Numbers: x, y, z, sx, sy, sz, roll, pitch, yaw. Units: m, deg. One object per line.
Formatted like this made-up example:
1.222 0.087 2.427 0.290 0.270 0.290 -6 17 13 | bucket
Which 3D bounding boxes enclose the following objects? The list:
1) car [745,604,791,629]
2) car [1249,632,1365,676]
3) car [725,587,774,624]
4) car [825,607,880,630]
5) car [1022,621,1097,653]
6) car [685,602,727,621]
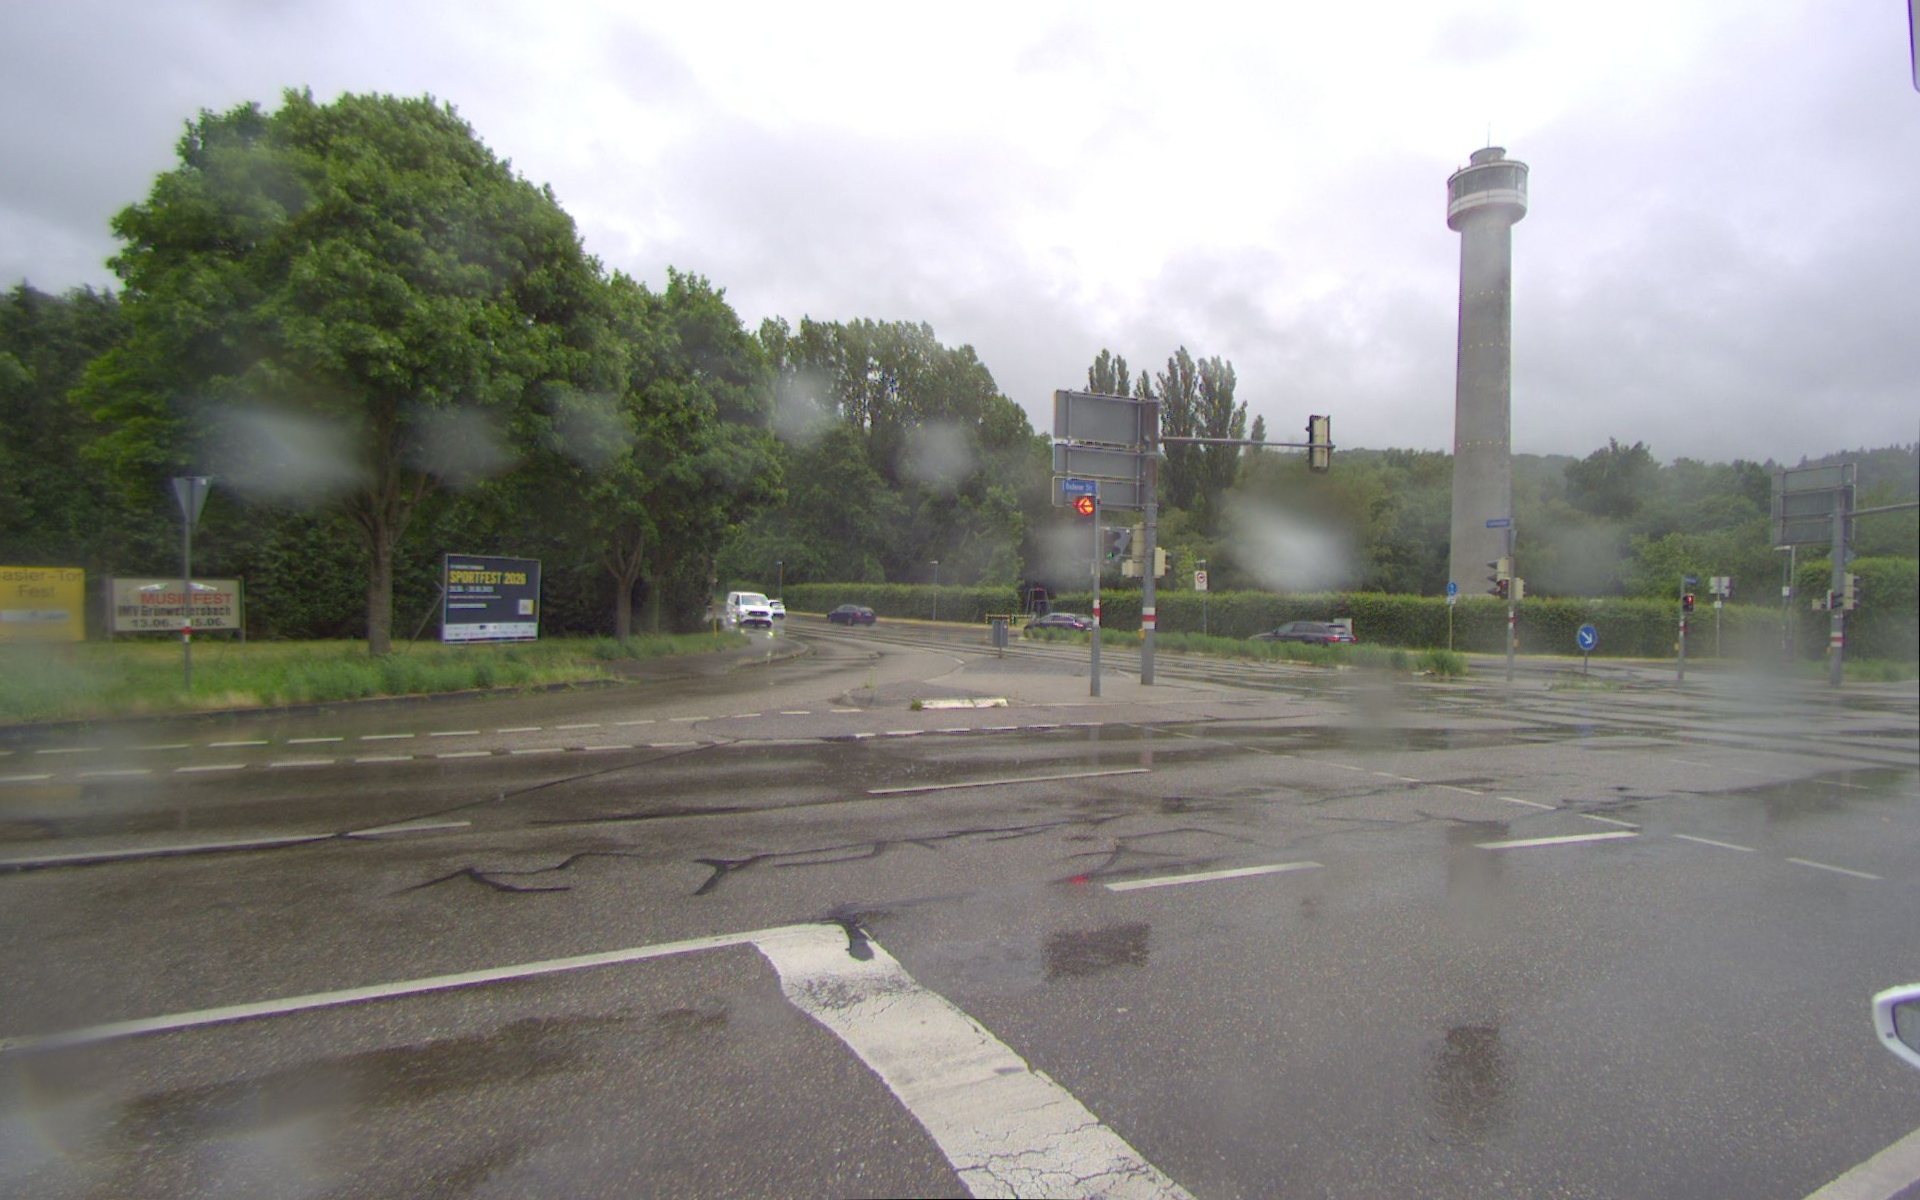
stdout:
-15.456 1.282 80.704 1.896 1.941 4.638 1 -1 -35 | car
13.980 2.125 40.766 1.797 1.574 4.657 1 -1 -24 | car
-12.624 0.370 60.023 2.085 2.040 4.729 1 -2 -22 | car
-7.549 1.290 70.302 1.804 1.574 4.639 1 -1 -35 | car
5.282 1.949 53.944 1.799 1.574 4.652 1 -1 -27 | car
-22.854 1.002 90.252 1.807 1.661 4.631 1 -1 -39 | car
